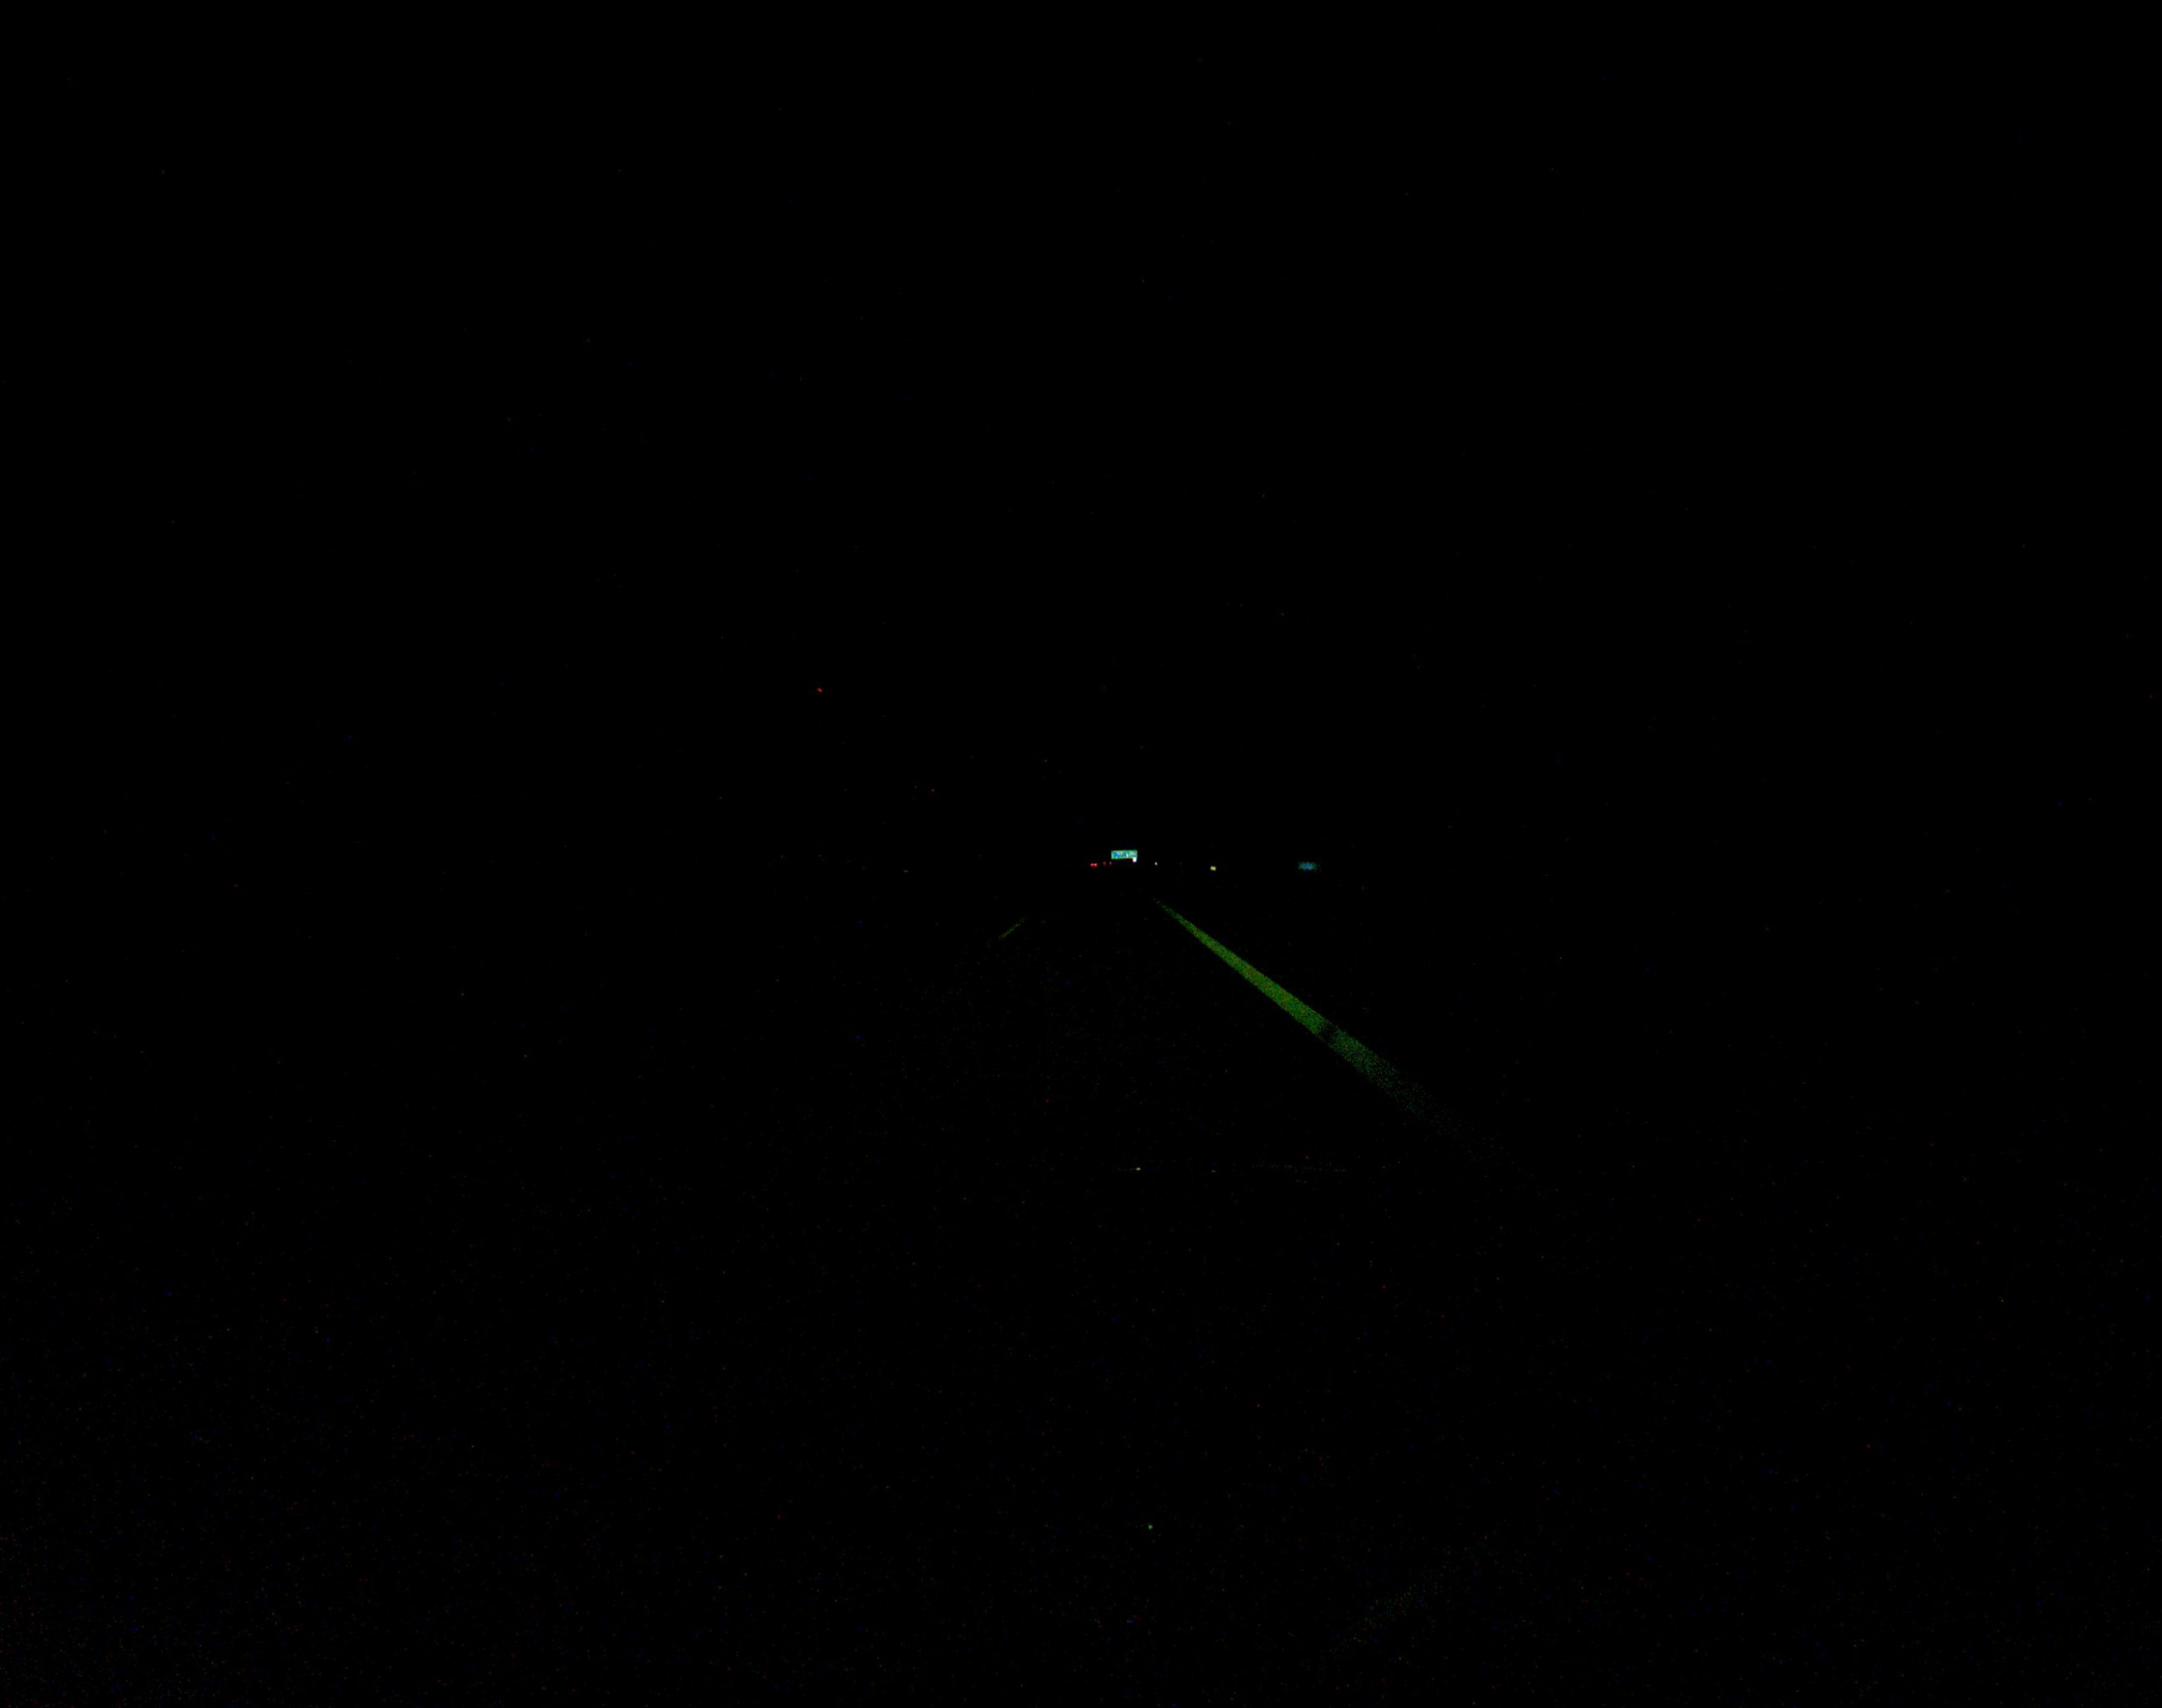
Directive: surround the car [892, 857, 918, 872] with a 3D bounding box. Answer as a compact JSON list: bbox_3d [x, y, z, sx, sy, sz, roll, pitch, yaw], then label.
[{"bbox_3d":[-20.104,1.229,93.101,1.891,1.646,4.702,-1,0,0],"label":"car"}]
